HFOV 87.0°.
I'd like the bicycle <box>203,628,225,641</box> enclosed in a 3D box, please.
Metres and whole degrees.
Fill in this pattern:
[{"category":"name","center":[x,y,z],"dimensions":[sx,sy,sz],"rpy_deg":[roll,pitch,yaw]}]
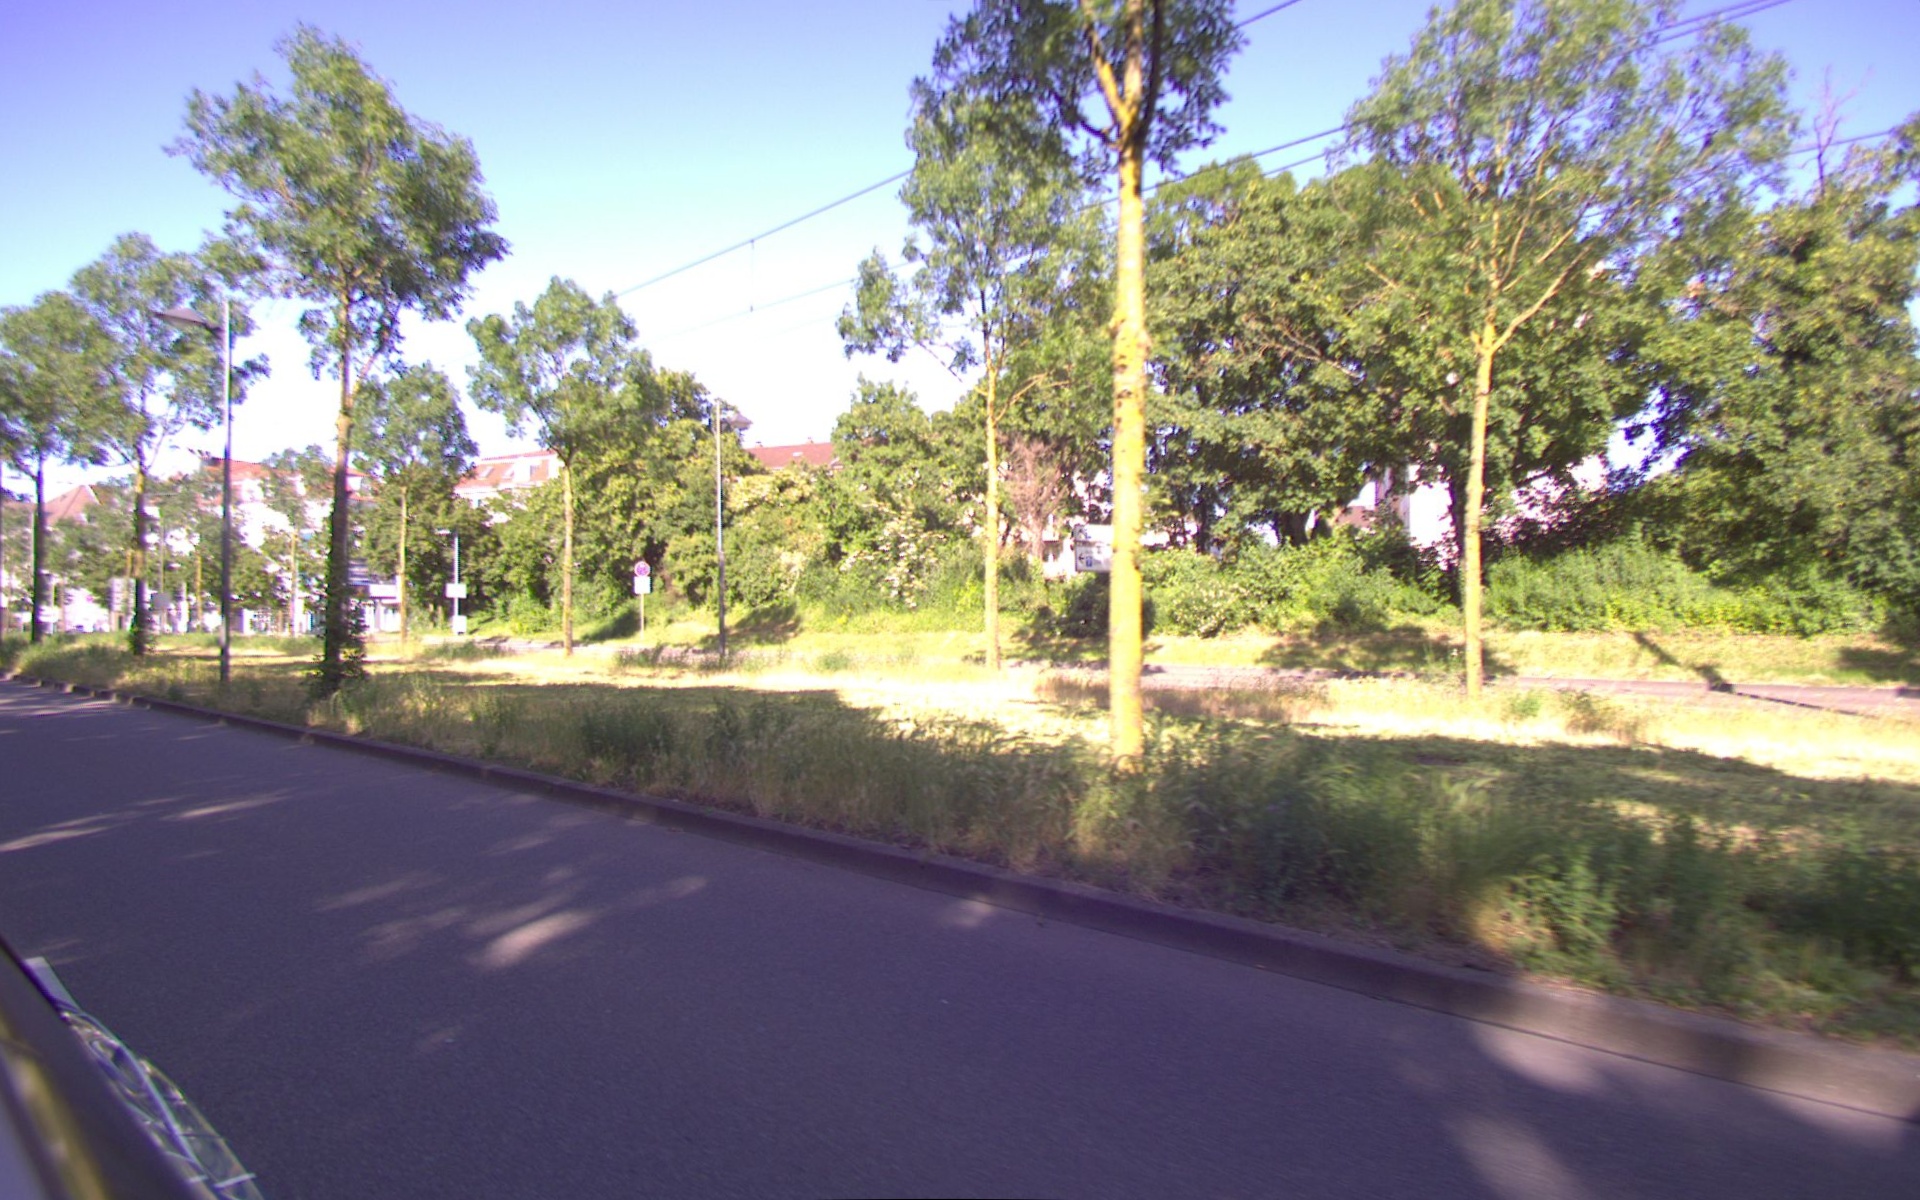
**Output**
[{"category":"bicycle","center":[-75.661,3.489,102.606],"dimensions":[2.539,1.222,0.713],"rpy_deg":[-1,-2,26]}]

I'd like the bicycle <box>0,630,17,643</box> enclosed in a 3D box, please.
[{"category":"bicycle","center":[-98.417,3.740,103.678],"dimensions":[0.659,1.319,2.559],"rpy_deg":[-1,-2,24]}]

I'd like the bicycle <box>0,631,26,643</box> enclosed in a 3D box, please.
[{"category":"bicycle","center":[-96.529,3.773,102.689],"dimensions":[0.779,1.168,2.559],"rpy_deg":[-1,-2,24]}]

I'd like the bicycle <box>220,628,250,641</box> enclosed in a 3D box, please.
[{"category":"bicycle","center":[-73.604,3.484,102.761],"dimensions":[0.715,1.222,2.530],"rpy_deg":[-2,-2,26]}]
